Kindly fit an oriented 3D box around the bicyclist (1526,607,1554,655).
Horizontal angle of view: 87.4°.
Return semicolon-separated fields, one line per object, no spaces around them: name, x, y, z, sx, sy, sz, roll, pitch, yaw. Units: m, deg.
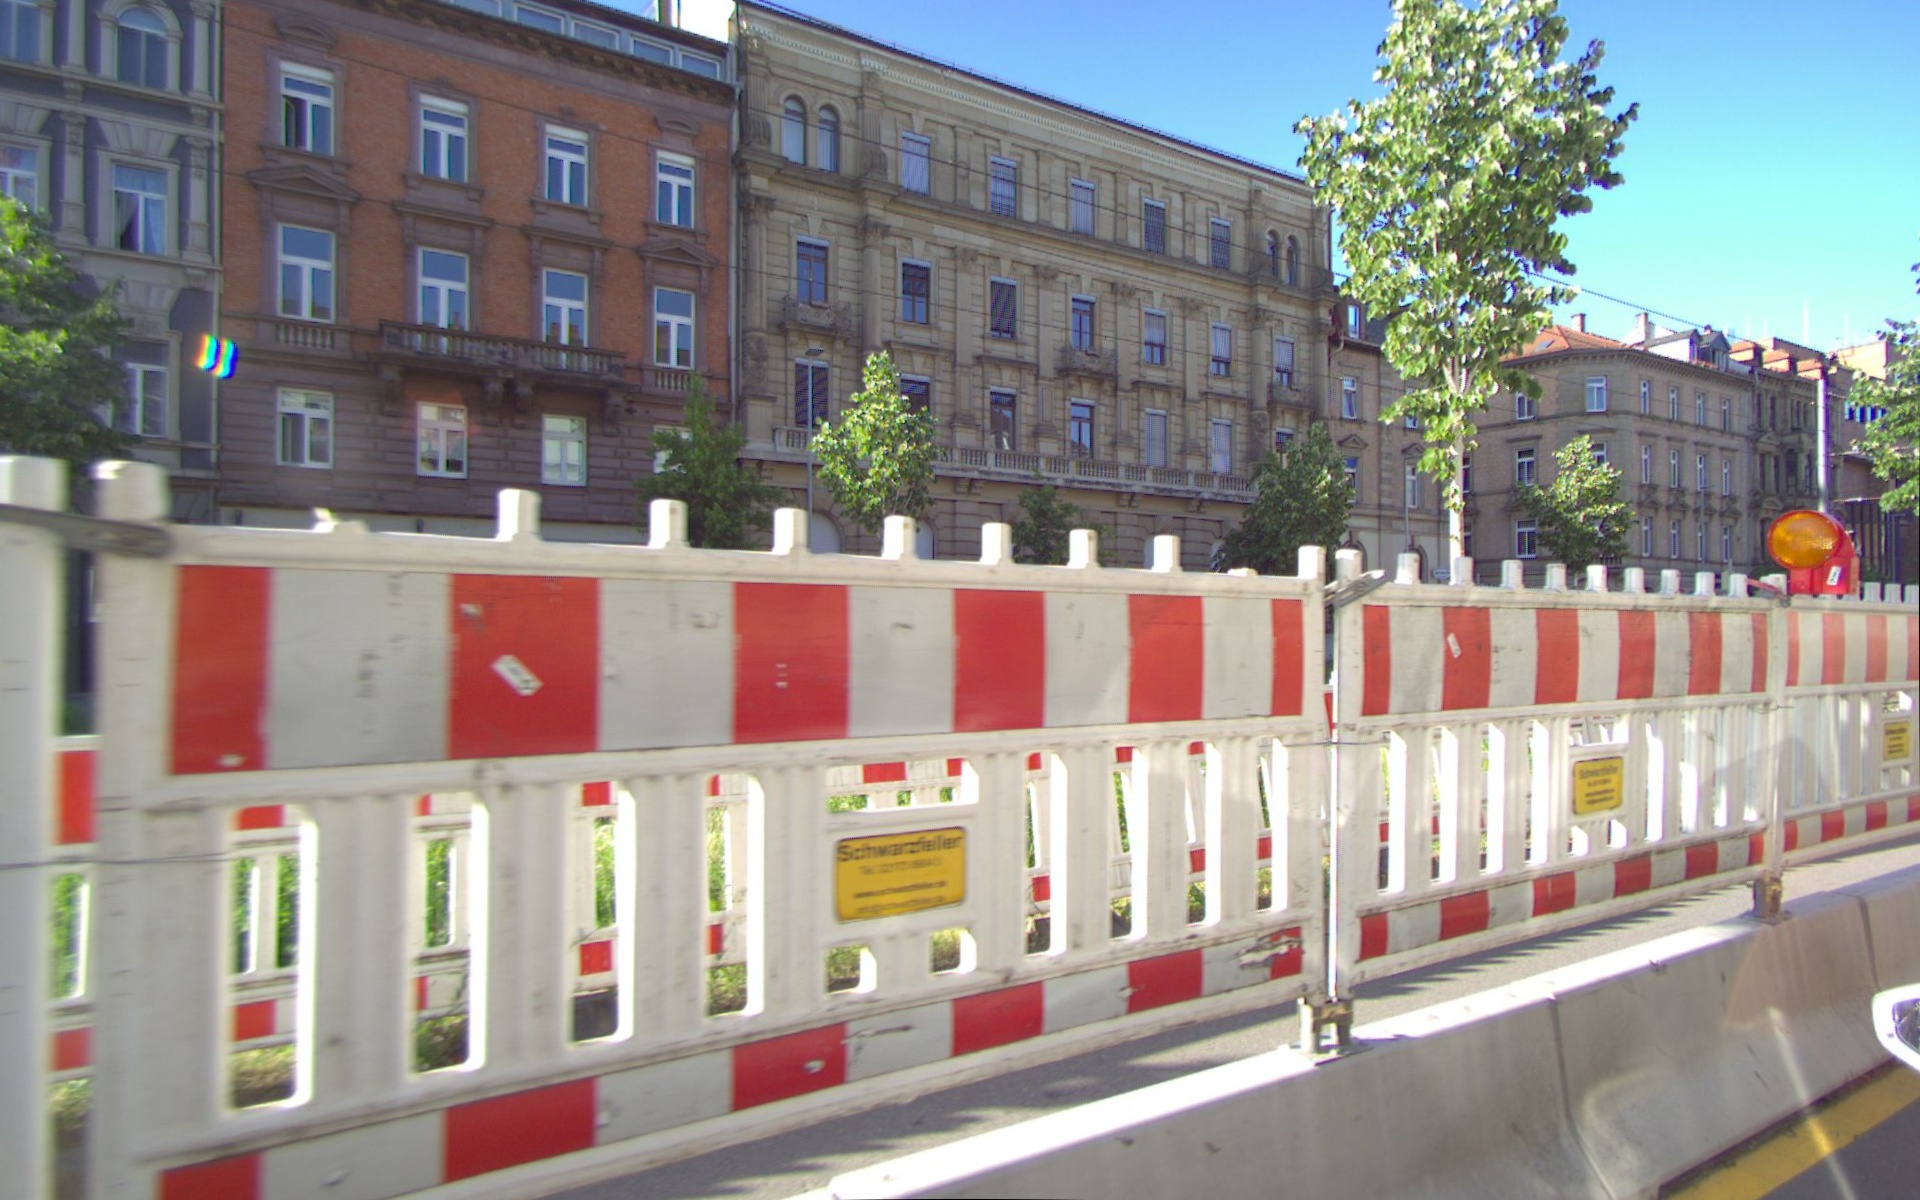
bicyclist;22.440;1.197;38.883;0.870;1.797;0.853;-1;-1;34

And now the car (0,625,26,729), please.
car;-17.924;1.260;15.704;4.488;1.680;1.930;1;0;-28
